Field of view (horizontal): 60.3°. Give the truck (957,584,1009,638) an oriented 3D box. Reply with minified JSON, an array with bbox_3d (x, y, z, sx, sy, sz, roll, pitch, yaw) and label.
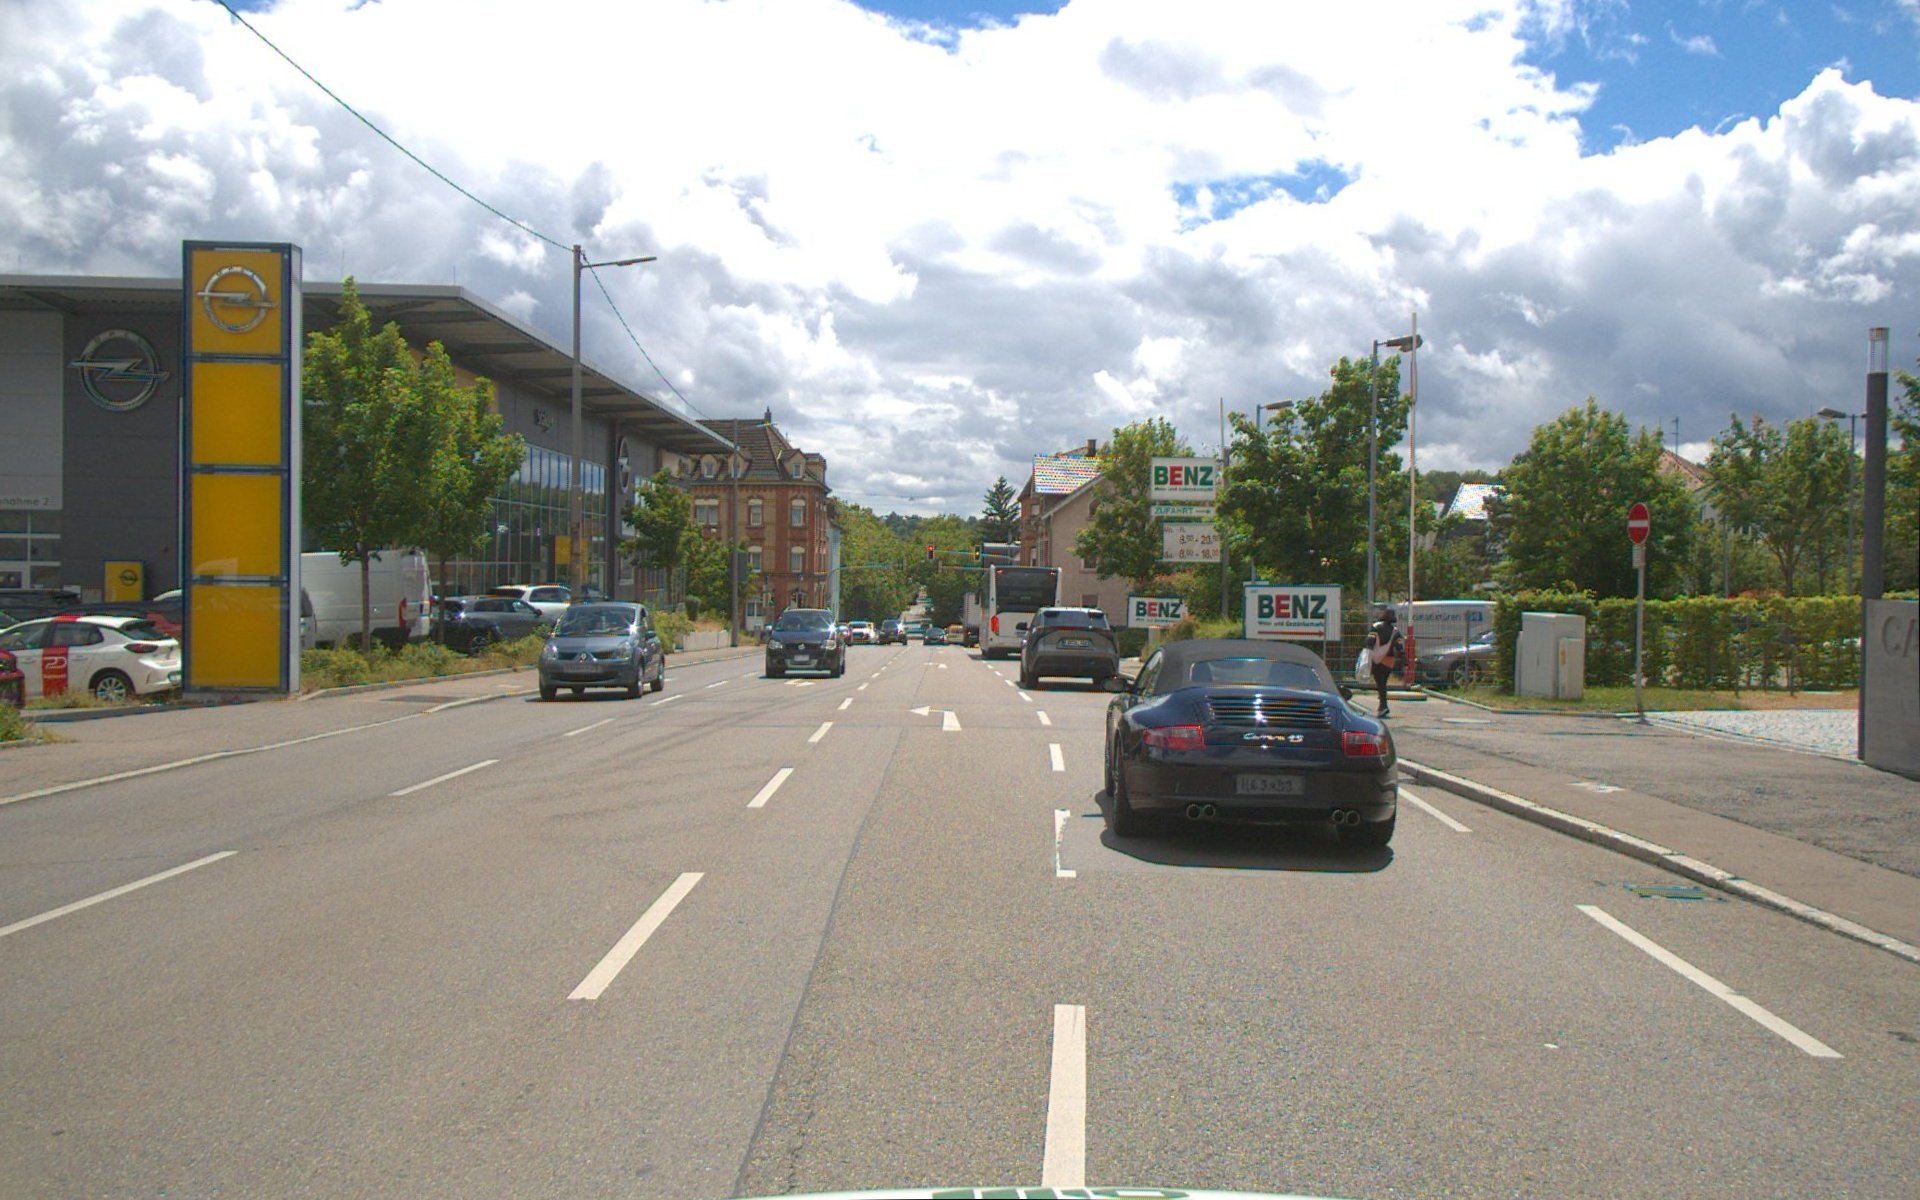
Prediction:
[{"bbox_3d":[1.358,0.721,101.153,2.613,3.162,9.029,-1,-1,-3],"label":"truck"}]

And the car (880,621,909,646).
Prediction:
[{"bbox_3d":[-4.308,2.184,108.864,1.826,1.567,4.105,1,-1,-1],"label":"car"}]

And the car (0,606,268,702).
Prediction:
[{"bbox_3d":[-14.465,0.909,28.885,3.904,1.517,2.001,1,1,2],"label":"car"}]

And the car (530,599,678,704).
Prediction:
[{"bbox_3d":[-6.007,0.818,28.343,1.708,1.623,4.041,-2,0,-2],"label":"car"}]

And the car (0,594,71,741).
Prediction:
[{"bbox_3d":[-12.711,0.843,19.054,3.905,1.616,1.754,-2,1,0],"label":"car"}]

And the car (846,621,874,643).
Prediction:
[{"bbox_3d":[-7.188,2.325,119.493,1.826,1.567,4.105,1,-1,-1],"label":"car"}]

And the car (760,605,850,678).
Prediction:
[{"bbox_3d":[-3.454,0.908,37.441,1.792,1.535,4.275,0,-1,-2],"label":"car"}]

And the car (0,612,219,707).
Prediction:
[{"bbox_3d":[-14.307,0.932,26.557,3.907,1.434,1.999,1,0,-2],"label":"car"}]

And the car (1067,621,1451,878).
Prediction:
[{"bbox_3d":[1.925,0.920,11.986,1.892,1.400,4.207,1,1,-2],"label":"car"}]

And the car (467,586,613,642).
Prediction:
[{"bbox_3d":[-12.595,0.447,49.902,1.891,1.600,4.552,0,-1,23],"label":"car"}]

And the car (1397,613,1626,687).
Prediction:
[{"bbox_3d":[12.058,1.086,36.380,4.342,1.507,1.999,-1,-1,-1],"label":"car"}]

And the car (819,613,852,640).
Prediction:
[{"bbox_3d":[-7.484,1.570,99.411,1.834,1.517,3.846,-2,-1,-3],"label":"car"}]

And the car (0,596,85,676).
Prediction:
[{"bbox_3d":[-20.215,0.704,33.261,4.142,1.563,1.928,1,-1,-1],"label":"car"}]

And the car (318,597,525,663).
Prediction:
[{"bbox_3d":[-13.084,0.714,40.316,4.440,1.535,1.913,0,-1,-43],"label":"car"}]

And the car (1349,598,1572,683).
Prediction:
[{"bbox_3d":[11.816,0.949,39.206,4.619,1.881,2.085,-1,-1,-8],"label":"car"}]

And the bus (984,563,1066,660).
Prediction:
[{"bbox_3d":[2.334,0.246,62.331,2.744,3.253,12.198,1,1,1],"label":"bus"}]

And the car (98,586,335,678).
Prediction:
[{"bbox_3d":[-15.057,0.619,33.629,3.903,1.735,2.001,1,1,5],"label":"car"}]

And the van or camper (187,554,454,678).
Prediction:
[{"bbox_3d":[-13.927,0.314,36.250,4.925,2.575,2.318,1,1,-1],"label":"van or camper"}]

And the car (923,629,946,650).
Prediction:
[{"bbox_3d":[-2.032,3.138,131.642,1.826,1.695,4.257,0,-1,-1],"label":"car"}]

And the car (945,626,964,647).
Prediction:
[{"bbox_3d":[-0.572,3.625,164.160,1.795,1.914,3.998,0,0,-2],"label":"car"}]

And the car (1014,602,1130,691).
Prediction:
[{"bbox_3d":[2.221,0.891,33.812,1.892,1.610,4.206,1,1,-3],"label":"car"}]

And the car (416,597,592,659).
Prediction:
[{"bbox_3d":[-12.287,0.721,44.921,1.858,1.476,4.827,1,1,27],"label":"car"}]

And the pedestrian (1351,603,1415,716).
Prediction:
[{"bbox_3d":[5.969,0.830,23.367,0.673,1.563,0.856,0,0,-1],"label":"pedestrian"}]
